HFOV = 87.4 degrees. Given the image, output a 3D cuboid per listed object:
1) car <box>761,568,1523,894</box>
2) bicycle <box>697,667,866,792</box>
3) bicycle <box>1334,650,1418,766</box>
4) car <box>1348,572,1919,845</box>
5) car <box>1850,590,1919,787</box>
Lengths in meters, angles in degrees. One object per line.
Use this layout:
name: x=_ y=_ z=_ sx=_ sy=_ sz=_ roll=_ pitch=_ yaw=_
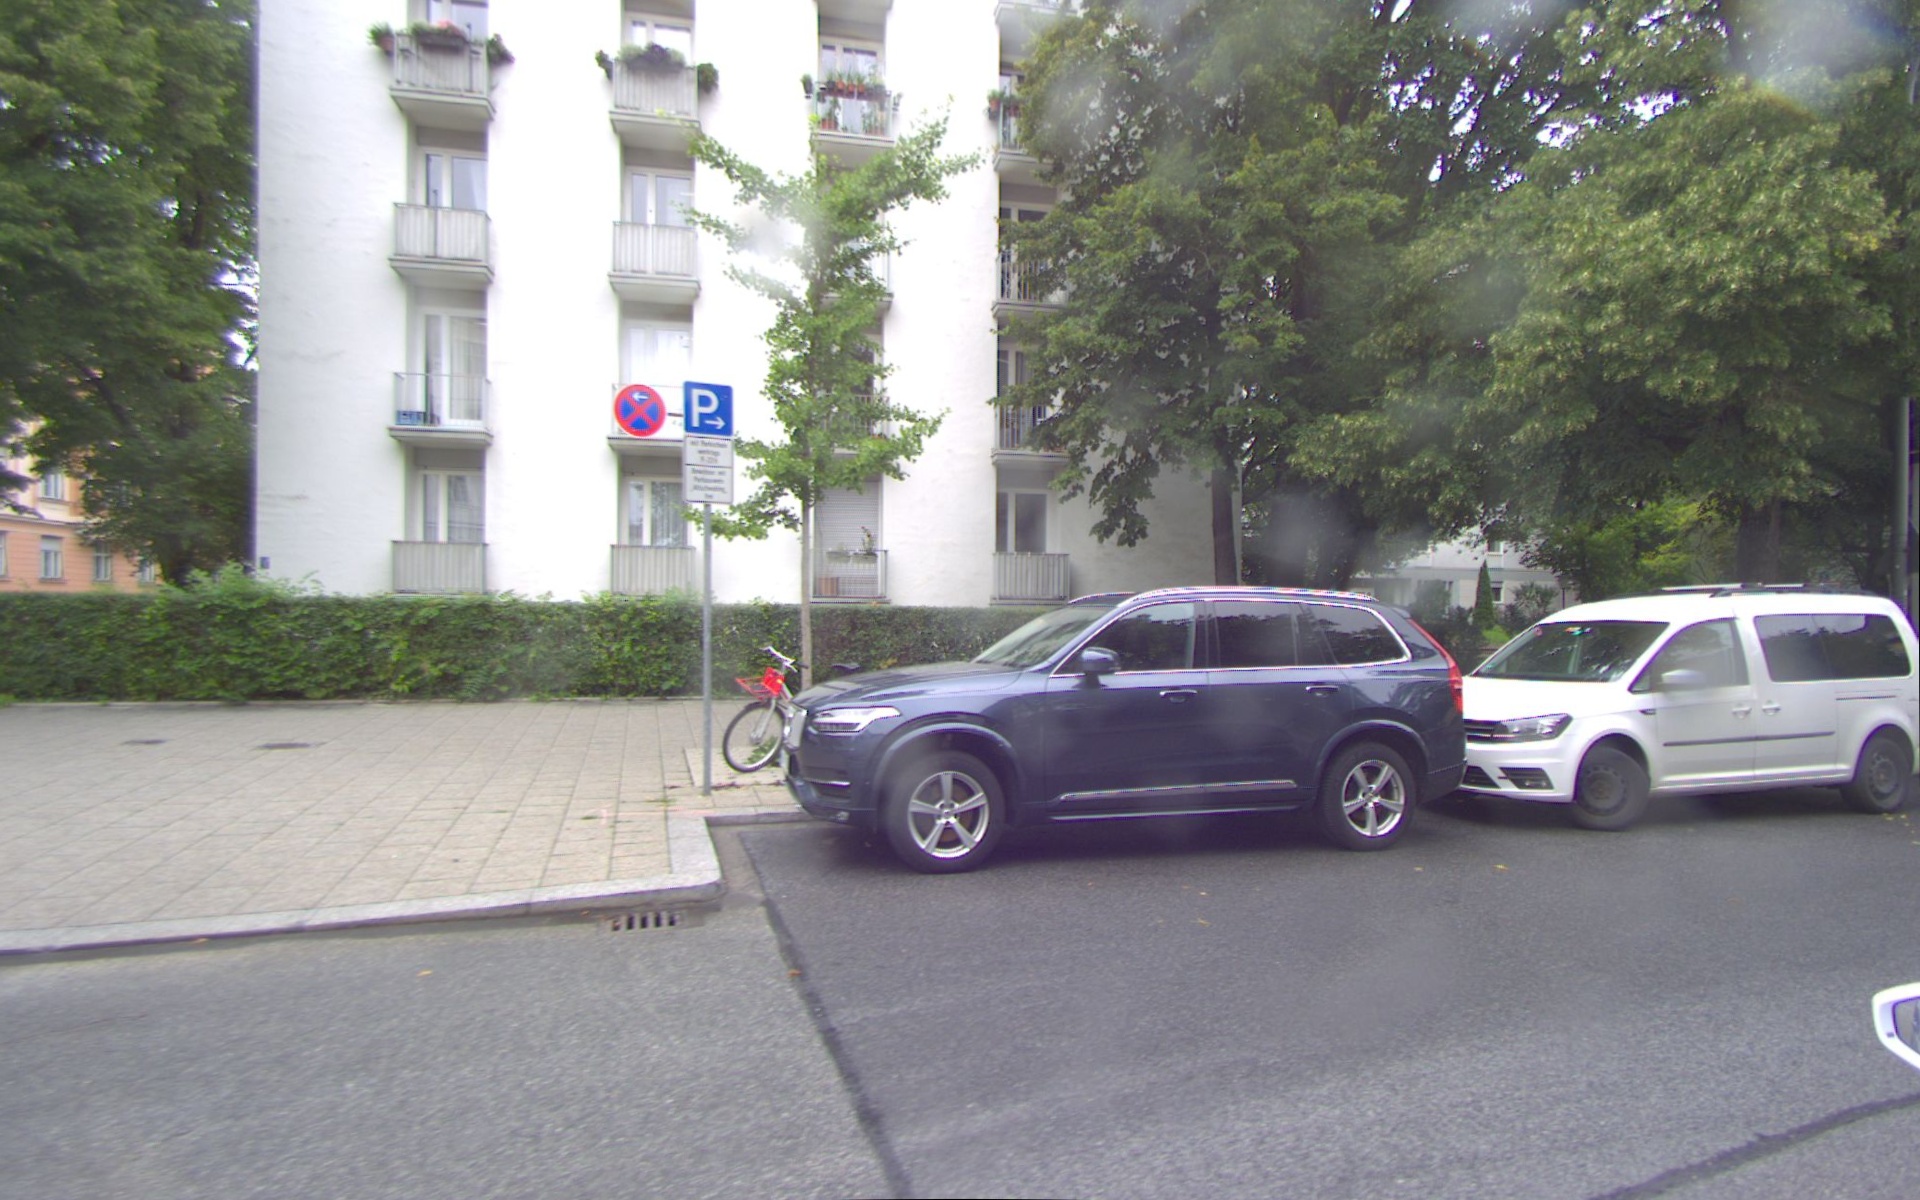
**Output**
car: x=1.201 y=0.822 z=7.111 sx=4.975 sy=1.791 sz=1.880 roll=2 pitch=-1 yaw=-15
bicycle: x=-1.598 y=1.137 z=9.036 sx=1.401 sy=1.027 sz=0.464 roll=2 pitch=-1 yaw=-27
bicycle: x=4.476 y=1.132 z=10.797 sx=0.685 sy=1.166 sz=0.557 roll=1 pitch=-1 yaw=39
car: x=6.029 y=0.836 z=8.778 sx=4.752 sy=1.962 sz=1.880 roll=1 pitch=-2 yaw=-15
car: x=12.380 y=0.924 z=10.748 sx=5.376 sy=1.989 sz=1.943 roll=1 pitch=-2 yaw=-20
